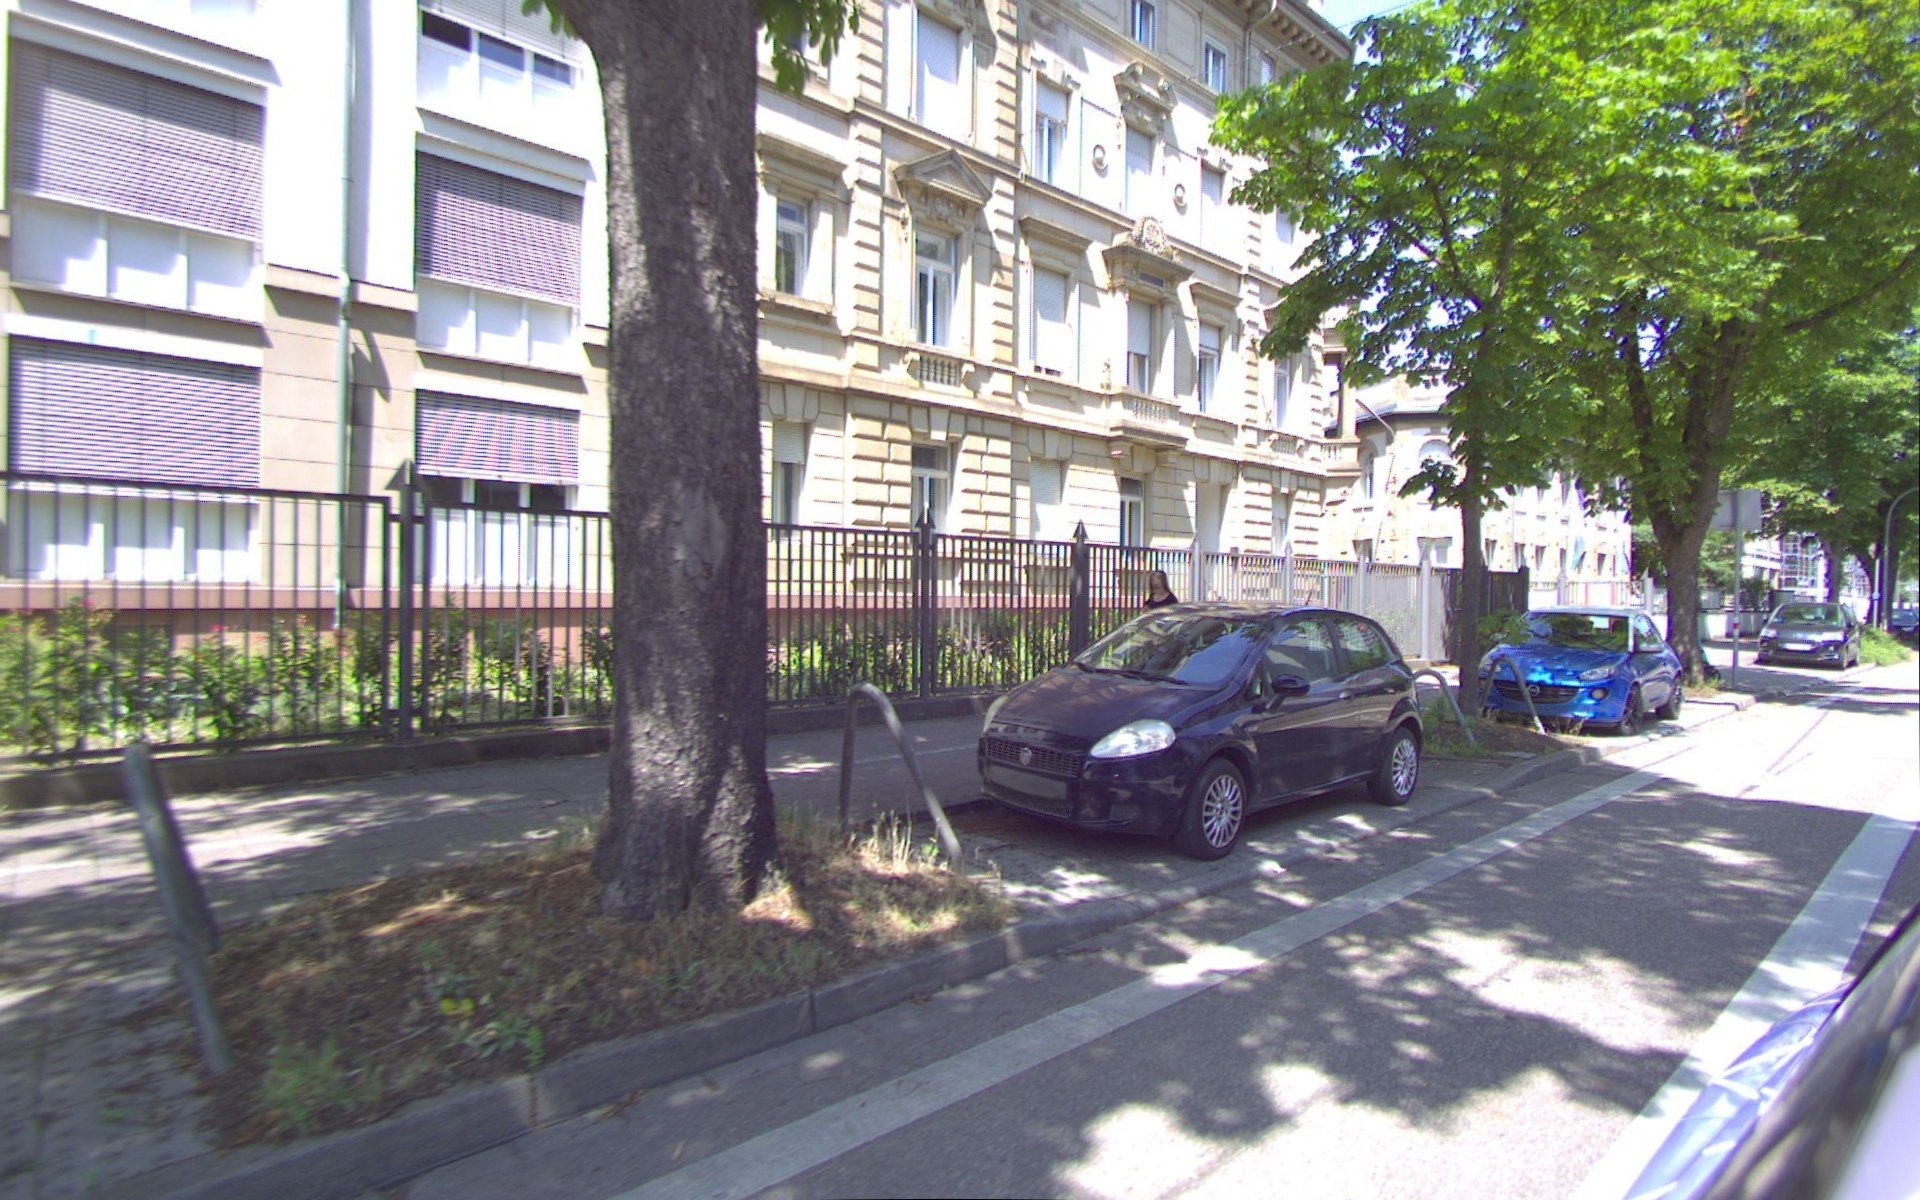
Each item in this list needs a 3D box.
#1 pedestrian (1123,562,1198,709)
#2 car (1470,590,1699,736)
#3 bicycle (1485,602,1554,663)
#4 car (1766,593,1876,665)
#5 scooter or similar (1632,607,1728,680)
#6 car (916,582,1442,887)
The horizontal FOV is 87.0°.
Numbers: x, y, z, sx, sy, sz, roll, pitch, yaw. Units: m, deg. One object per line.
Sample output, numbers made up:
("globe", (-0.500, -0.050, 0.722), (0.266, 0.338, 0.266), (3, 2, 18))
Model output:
("pedestrian", (2.432, 0.408, 12.243), (0.742, 1.714, 0.546), (0, 1, -43))
("car", (8.003, 0.674, 12.864), (3.523, 1.515, 1.612), (-1, 3, -43))
("bicycle", (11.990, 0.668, 21.645), (2.083, 1.240, 0.687), (0, 0, -43))
("car", (21.664, 0.706, 25.405), (4.046, 1.616, 1.645), (1, 1, -44))
("scooter or similar", (12.690, 0.745, 17.877), (1.369, 1.247, 0.371), (0, 0, 35))
("car", (1.709, 0.665, 7.101), (3.852, 1.515, 1.680), (0, 2, -42))
